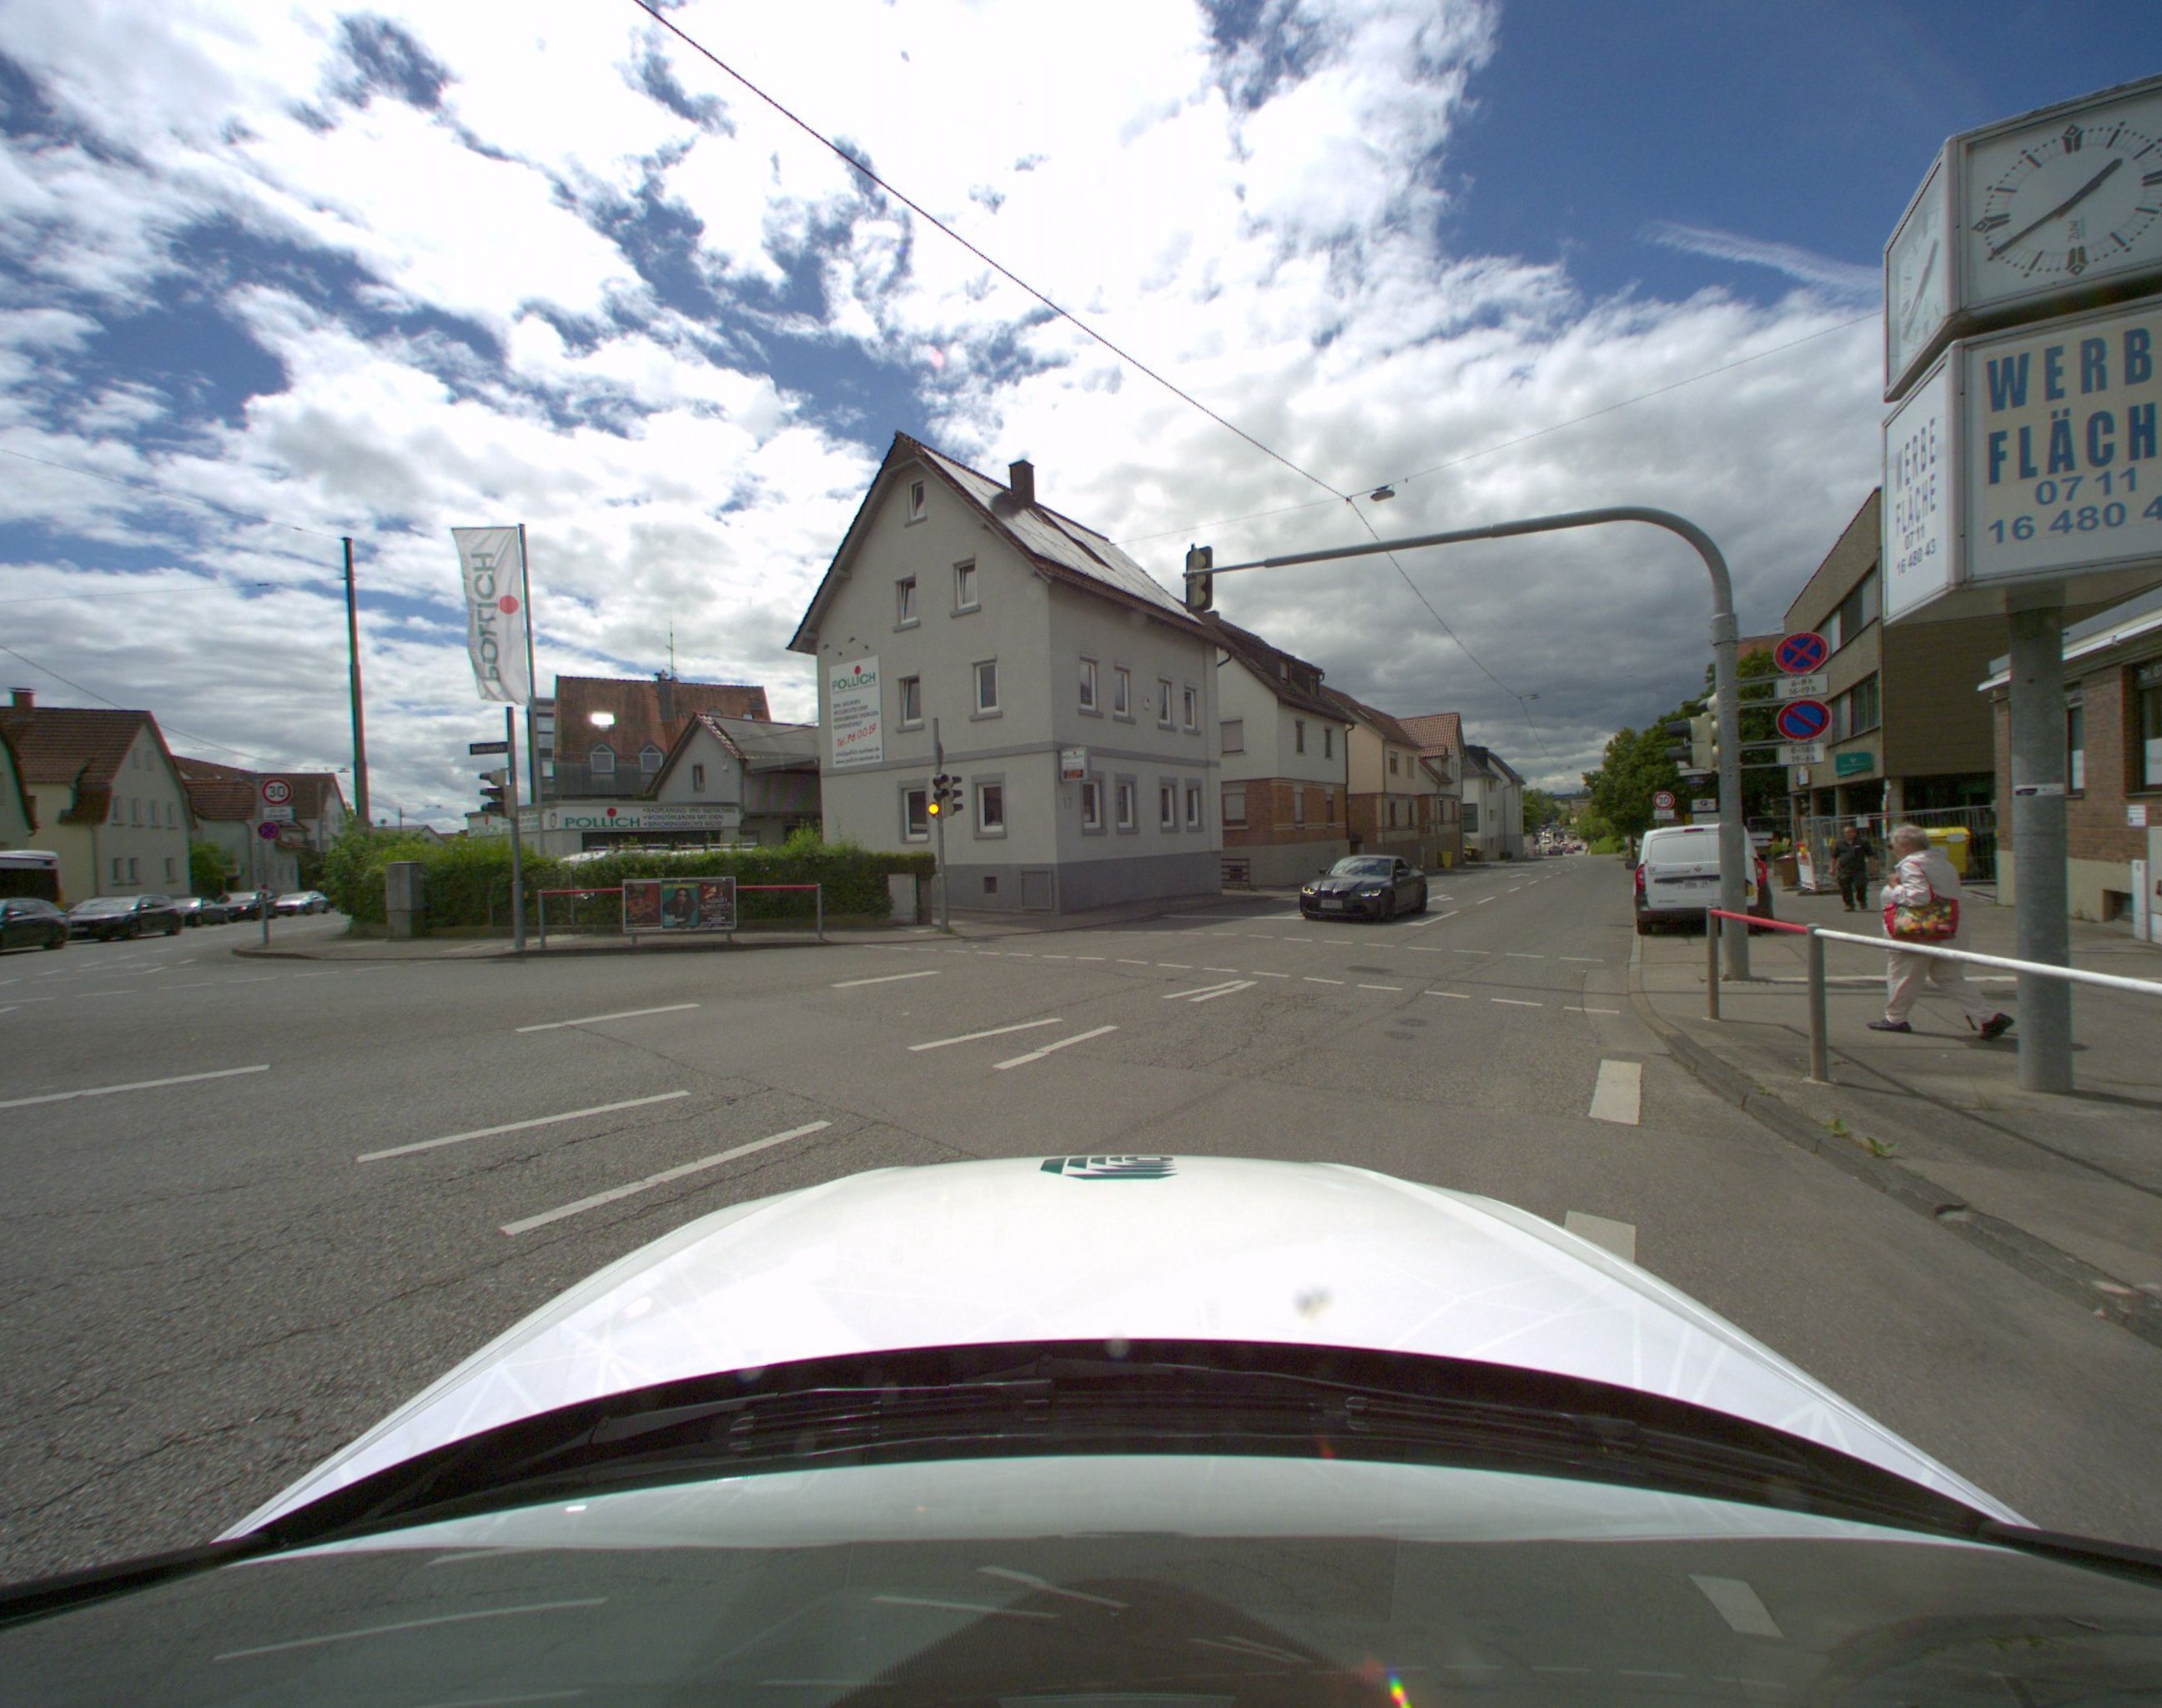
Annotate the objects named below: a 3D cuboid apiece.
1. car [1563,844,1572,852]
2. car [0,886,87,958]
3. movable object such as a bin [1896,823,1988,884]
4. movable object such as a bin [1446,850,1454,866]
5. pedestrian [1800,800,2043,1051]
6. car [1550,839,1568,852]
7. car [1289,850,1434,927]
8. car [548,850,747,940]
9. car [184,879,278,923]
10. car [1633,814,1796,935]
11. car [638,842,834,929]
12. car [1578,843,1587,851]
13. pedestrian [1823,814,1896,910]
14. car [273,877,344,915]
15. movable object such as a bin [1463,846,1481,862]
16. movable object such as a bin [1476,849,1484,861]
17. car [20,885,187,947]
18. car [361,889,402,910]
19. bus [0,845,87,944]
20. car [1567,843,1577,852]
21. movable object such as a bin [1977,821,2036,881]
[{"bbox_3d":[124.366,-1.600,208.268,1.974,2.014,4.025,-2,-1,31],"label":"car"},{"bbox_3d":[-27.238,1.706,20.053,2.005,1.640,4.145,-1,0,-28],"label":"car"},{"bbox_3d":[22.337,-0.002,21.181,1.468,1.492,1.083,-2,2,38],"label":"movable object such as a bin"},{"bbox_3d":[25.439,0.284,56.156,0.427,1.128,0.301,-2,-1,33],"label":"movable object such as a bin"},{"bbox_3d":[6.108,0.480,5.961,0.836,1.637,0.868,-4,-1,-17],"label":"pedestrian"},{"bbox_3d":[73.077,-1.303,124.572,1.975,2.013,4.023,-1,0,26],"label":"car"},{"bbox_3d":[6.562,0.666,18.678,1.974,1.457,4.647,1,1,34],"label":"car"},{"bbox_3d":[-11.036,0.967,20.964,1.974,2.013,4.026,-2,0,36],"label":"car"},{"bbox_3d":[-43.897,2.371,42.193,2.004,2.013,3.967,-2,0,-25],"label":"car"},{"bbox_3d":[11.141,0.315,14.541,1.892,1.794,4.519,-5,-2,36],"label":"car"},{"bbox_3d":[-8.516,0.710,20.409,1.974,1.948,4.026,-2,0,36],"label":"car"},{"bbox_3d":[129.983,-1.696,211.105,1.974,2.014,4.025,-2,-1,31],"label":"car"},{"bbox_3d":[15.091,0.157,15.810,0.834,1.803,0.655,-4,-1,34],"label":"pedestrian"},{"bbox_3d":[-46.361,2.476,48.971,2.005,2.013,3.964,-2,0,-28],"label":"car"},{"bbox_3d":[33.656,0.017,70.099,1.269,1.310,0.821,-1,0,29],"label":"movable object such as a bin"},{"bbox_3d":[34.651,0.124,70.679,0.526,1.030,0.458,-1,0,33],"label":"movable object such as a bin"},{"bbox_3d":[-30.876,1.902,25.918,2.005,1.640,3.964,-1,0,-28],"label":"car"},{"bbox_3d":[-64.563,4.166,75.211,2.005,1.640,3.964,-1,0,-28],"label":"car"},{"bbox_3d":[-33.134,1.224,23.307,2.795,2.914,9.103,-2,0,-30],"label":"bus"},{"bbox_3d":[119.679,-1.640,198.646,1.974,2.014,4.025,-2,-1,31],"label":"car"},{"bbox_3d":[23.272,-0.081,20.497,0.772,1.440,1.024,-2,2,38],"label":"movable object such as a bin"}]
